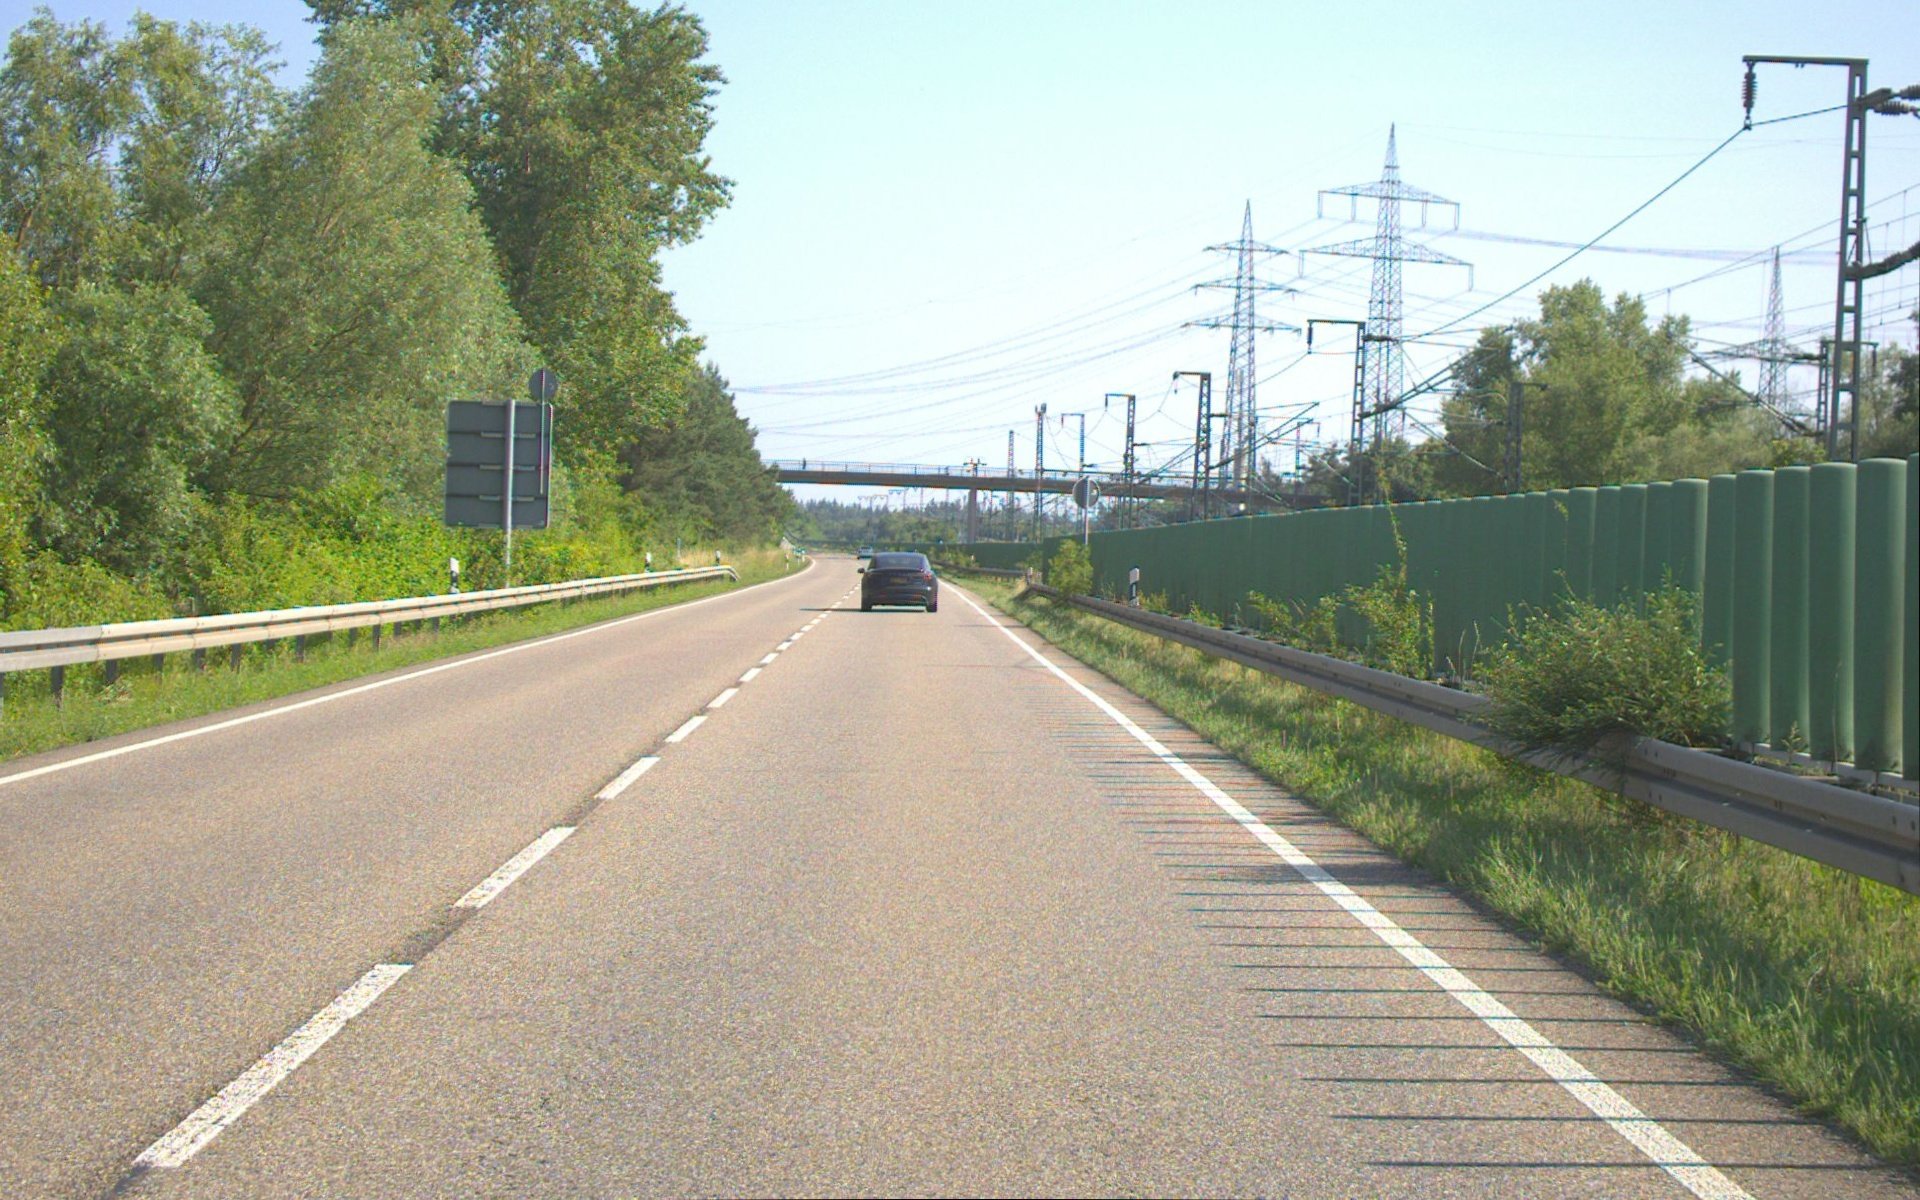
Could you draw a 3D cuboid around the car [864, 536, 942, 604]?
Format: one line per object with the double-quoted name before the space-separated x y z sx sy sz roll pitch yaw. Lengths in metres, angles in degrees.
"car" -1.398 -0.748 83.686 1.858 1.636 4.000 0 1 -1
